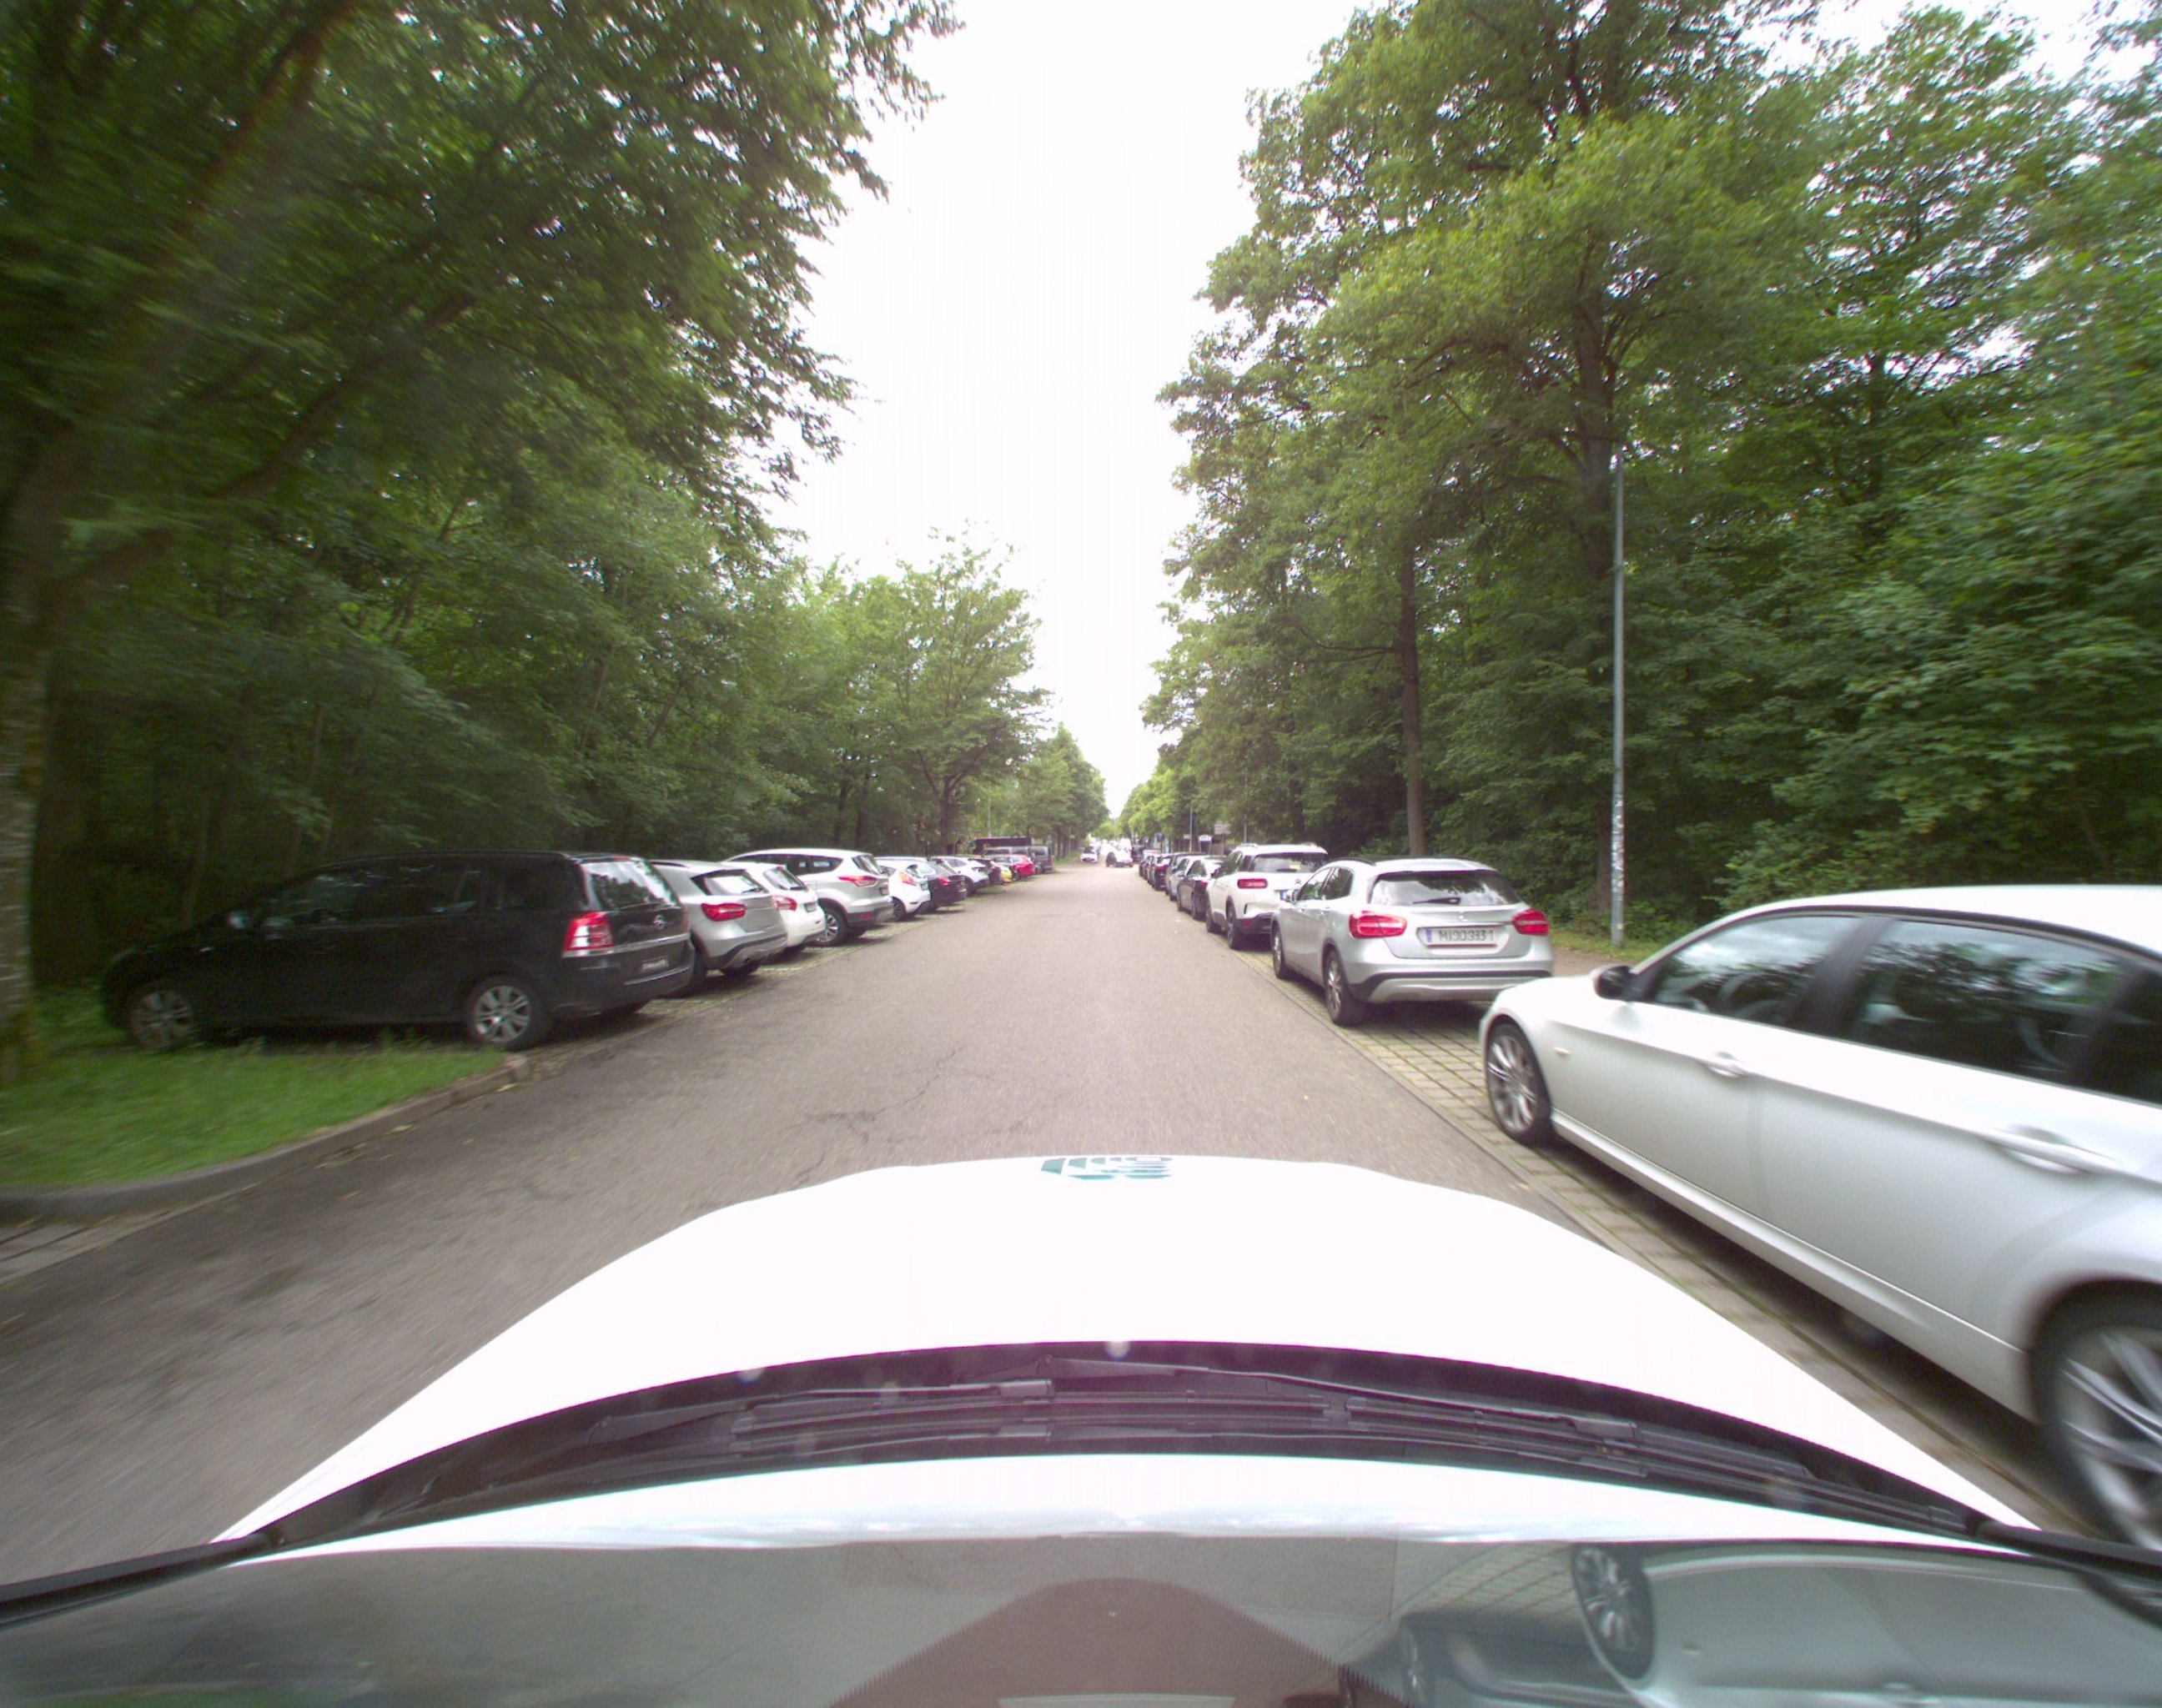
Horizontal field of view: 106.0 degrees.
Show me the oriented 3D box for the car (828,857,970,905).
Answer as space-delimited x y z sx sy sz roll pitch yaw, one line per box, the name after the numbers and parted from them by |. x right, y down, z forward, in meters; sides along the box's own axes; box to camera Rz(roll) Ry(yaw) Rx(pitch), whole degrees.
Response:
-5.603 0.815 25.341 3.970 1.435 1.679 0 0 3 | car

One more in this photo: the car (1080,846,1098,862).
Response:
0.840 0.015 86.570 1.759 1.596 4.215 2 0 -1 | car

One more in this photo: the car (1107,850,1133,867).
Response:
3.569 0.433 75.102 1.868 1.486 3.994 0 -1 -4 | car

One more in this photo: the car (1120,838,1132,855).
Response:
8.127 -1.377 146.967 2.175 3.015 4.901 0 0 3 | car

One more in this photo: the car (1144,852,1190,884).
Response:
4.026 0.604 38.803 1.731 1.432 4.501 0 0 0 | car

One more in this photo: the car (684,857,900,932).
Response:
-6.123 0.850 17.600 3.974 1.421 1.814 -2 -2 0 | car

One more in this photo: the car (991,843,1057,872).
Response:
-3.971 0.260 57.479 4.487 1.978 1.891 0 -1 0 | car

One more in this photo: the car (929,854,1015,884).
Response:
-5.372 0.716 40.277 3.972 1.438 1.618 0 0 1 | car

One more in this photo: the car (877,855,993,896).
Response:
-5.376 0.763 30.289 3.973 1.467 1.715 0 0 1 | car

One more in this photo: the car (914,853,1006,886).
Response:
-5.585 0.699 37.958 3.972 1.438 1.734 0 0 1 | car

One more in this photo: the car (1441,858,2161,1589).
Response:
3.036 0.737 2.857 1.729 1.407 4.430 0 0 2 | car

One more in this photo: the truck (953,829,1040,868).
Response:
-7.284 -0.426 69.828 7.245 3.236 3.430 0 -1 -9 | truck

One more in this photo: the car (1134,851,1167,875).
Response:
4.390 0.537 51.732 1.731 1.494 4.233 0 0 0 | car

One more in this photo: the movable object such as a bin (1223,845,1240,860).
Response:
14.591 -0.113 79.159 1.293 1.442 1.066 0 -1 -42 | movable object such as a bin

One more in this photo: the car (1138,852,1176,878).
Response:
4.245 0.592 46.210 1.731 1.432 4.501 0 0 0 | car

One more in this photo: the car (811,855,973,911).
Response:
-5.083 0.756 22.254 3.970 1.435 1.679 0 0 3 | car

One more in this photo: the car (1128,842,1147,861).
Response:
6.175 -0.286 88.972 1.980 2.013 4.112 0 1 3 | car

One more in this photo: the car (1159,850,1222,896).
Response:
3.863 0.632 29.331 1.731 1.568 4.007 0 0 0 | car

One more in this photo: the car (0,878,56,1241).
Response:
-6.375 0.876 2.711 3.969 1.448 1.698 -1 0 4 | car

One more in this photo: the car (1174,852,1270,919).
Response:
3.359 0.684 20.147 1.729 1.474 4.607 0 0 2 | car

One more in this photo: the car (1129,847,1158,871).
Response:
4.371 0.359 57.491 1.731 1.633 4.374 0 0 0 | car

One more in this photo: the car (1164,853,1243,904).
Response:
3.662 0.692 24.930 1.731 1.425 4.152 0 0 -1 | car

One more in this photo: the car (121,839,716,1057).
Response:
-5.732 0.755 7.433 3.974 1.662 1.696 -1 0 0 | car

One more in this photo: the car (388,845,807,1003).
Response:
-5.660 0.777 9.901 3.971 1.662 1.815 -1 0 2 | car

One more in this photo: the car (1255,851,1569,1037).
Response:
3.152 0.709 8.893 1.729 1.479 4.774 0 0 3 | car

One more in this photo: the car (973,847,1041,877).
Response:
-4.542 0.464 50.126 3.974 1.765 1.824 0 0 0 | car

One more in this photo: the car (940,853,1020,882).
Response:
-5.246 0.687 42.663 3.975 1.438 1.671 0 0 -1 | car

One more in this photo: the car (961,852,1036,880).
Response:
-4.528 0.666 45.285 3.974 1.476 1.779 0 0 -1 | car

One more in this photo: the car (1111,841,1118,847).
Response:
9.801 -2.874 240.464 1.889 1.706 4.070 0 -1 5 | car

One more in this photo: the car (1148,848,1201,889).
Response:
3.829 0.557 33.935 1.731 1.589 4.381 0 0 0 | car

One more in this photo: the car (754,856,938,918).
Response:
-5.652 0.789 19.901 3.970 1.435 1.650 0 -2 3 | car

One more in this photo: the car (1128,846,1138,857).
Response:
7.481 -0.357 117.579 1.463 1.531 3.192 0 1 3 | car

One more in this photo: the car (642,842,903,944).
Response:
-5.435 0.660 14.742 3.974 1.662 1.814 -1 0 0 | car

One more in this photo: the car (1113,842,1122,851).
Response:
9.330 -1.895 206.964 1.984 2.014 4.006 0 -1 5 | car

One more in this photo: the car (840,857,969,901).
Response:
-5.994 0.821 27.944 3.970 1.435 1.704 0 0 3 | car

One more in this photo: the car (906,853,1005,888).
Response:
-5.386 0.701 35.224 3.972 1.438 1.716 0 0 1 | car

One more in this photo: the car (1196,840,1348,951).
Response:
3.205 0.611 14.688 1.729 1.643 5.074 0 0 2 | car

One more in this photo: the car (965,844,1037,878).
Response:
-4.651 0.419 47.692 3.972 1.862 1.814 -1 0 1 | car
